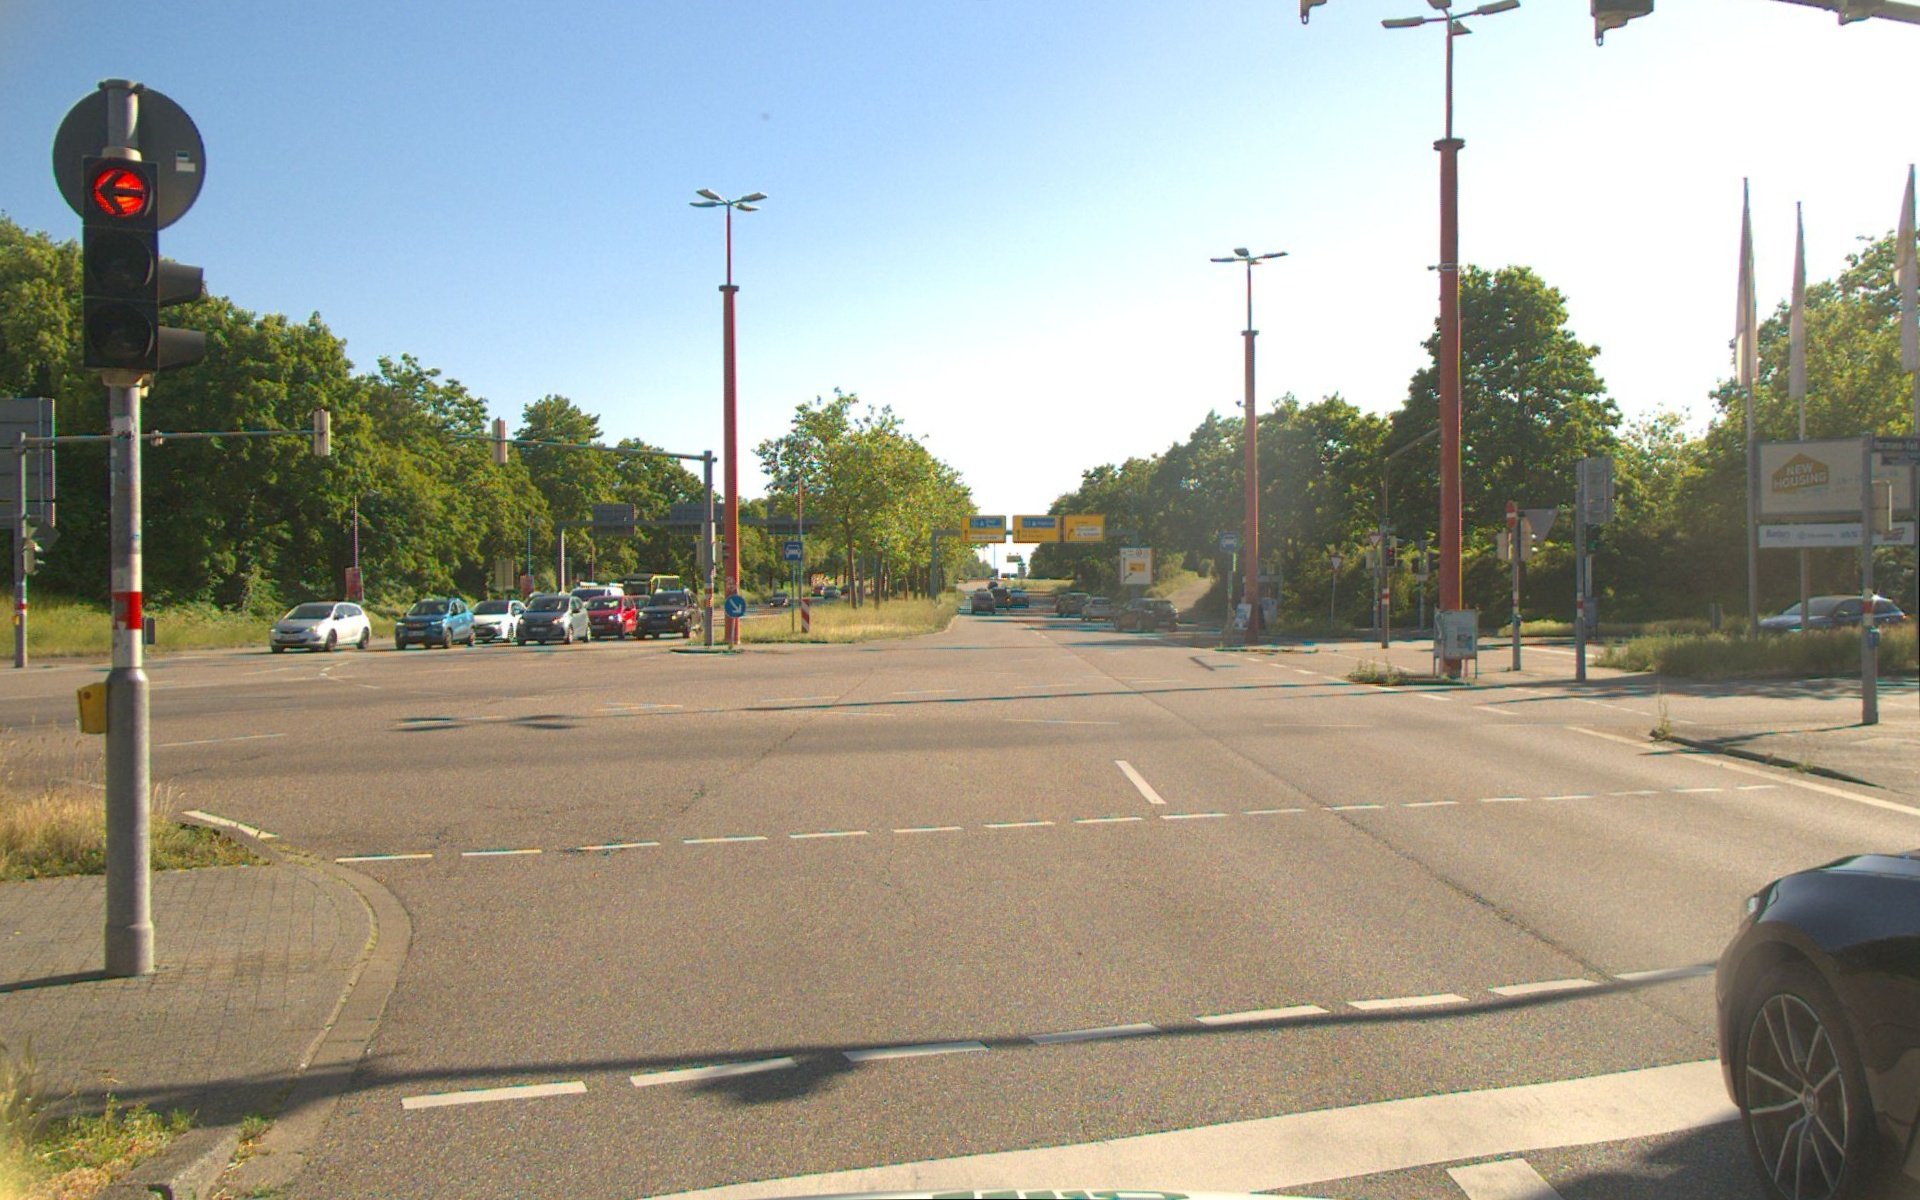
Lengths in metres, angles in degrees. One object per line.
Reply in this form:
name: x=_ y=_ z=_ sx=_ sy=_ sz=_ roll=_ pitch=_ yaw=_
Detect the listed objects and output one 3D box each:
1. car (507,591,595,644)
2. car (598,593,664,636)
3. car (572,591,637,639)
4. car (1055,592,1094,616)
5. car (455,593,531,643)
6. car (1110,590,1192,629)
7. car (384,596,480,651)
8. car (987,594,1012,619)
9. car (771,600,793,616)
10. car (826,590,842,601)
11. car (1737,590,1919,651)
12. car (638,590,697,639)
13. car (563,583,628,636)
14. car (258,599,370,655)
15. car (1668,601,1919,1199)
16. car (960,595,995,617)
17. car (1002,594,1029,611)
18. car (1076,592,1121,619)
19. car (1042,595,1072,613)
car: x=-12.797 y=0.523 z=51.979 sx=1.954 sy=1.601 sz=4.118 roll=0 pitch=0 yaw=-4
car: x=-12.703 y=0.528 z=64.061 sx=1.954 sy=1.601 sz=4.117 roll=0 pitch=0 yaw=-4
car: x=-12.471 y=0.508 z=58.286 sx=1.956 sy=1.601 sz=4.113 roll=0 pitch=0 yaw=-8
car: x=7.963 y=0.271 z=115.561 sx=2.116 sy=1.601 sz=4.277 roll=0 pitch=0 yaw=-4
car: x=-15.983 y=0.598 z=56.799 sx=1.956 sy=1.601 sz=4.113 roll=-1 pitch=0 yaw=-8
car: x=8.309 y=0.400 z=72.372 sx=2.124 sy=1.601 sz=4.262 roll=0 pitch=0 yaw=-16
car: x=-16.200 y=0.683 z=50.905 sx=1.955 sy=1.601 sz=4.116 roll=0 pitch=0 yaw=-5
car: x=3.395 y=0.556 z=142.965 sx=1.953 sy=2.049 sz=3.999 roll=0 pitch=0 yaw=-1
car: x=-17.854 y=0.772 z=165.889 sx=1.954 sy=1.601 sz=4.118 roll=0 pitch=0 yaw=-3
car: x=-16.535 y=-0.558 z=217.653 sx=1.846 sy=1.480 sz=3.656 roll=0 pitch=0 yaw=0
car: x=22.227 y=0.498 z=42.244 sx=4.201 sy=1.453 sz=1.874 roll=0 pitch=0 yaw=-19
car: x=-9.866 y=0.473 z=56.005 sx=1.841 sy=1.601 sz=4.113 roll=0 pitch=0 yaw=-8
car: x=-15.663 y=0.387 z=71.279 sx=2.021 sy=2.231 sz=4.376 roll=0 pitch=0 yaw=-3
car: x=-19.579 y=0.787 z=50.312 sx=1.954 sy=1.601 sz=4.118 roll=0 pitch=0 yaw=-3
car: x=2.977 y=0.716 z=2.374 sx=1.953 sy=1.419 sz=4.476 roll=0 pitch=0 yaw=-1
car: x=1.289 y=0.408 z=123.962 sx=2.202 sy=1.601 sz=4.276 roll=0 pitch=0 yaw=-5
car: x=5.287 y=0.215 z=157.027 sx=2.116 sy=1.601 sz=4.277 roll=0 pitch=0 yaw=-4
car: x=8.497 y=0.309 z=101.576 sx=2.116 sy=1.601 sz=4.277 roll=0 pitch=0 yaw=-4
car: x=8.067 y=0.325 z=137.602 sx=1.915 sy=1.467 sz=4.277 roll=0 pitch=0 yaw=-4
